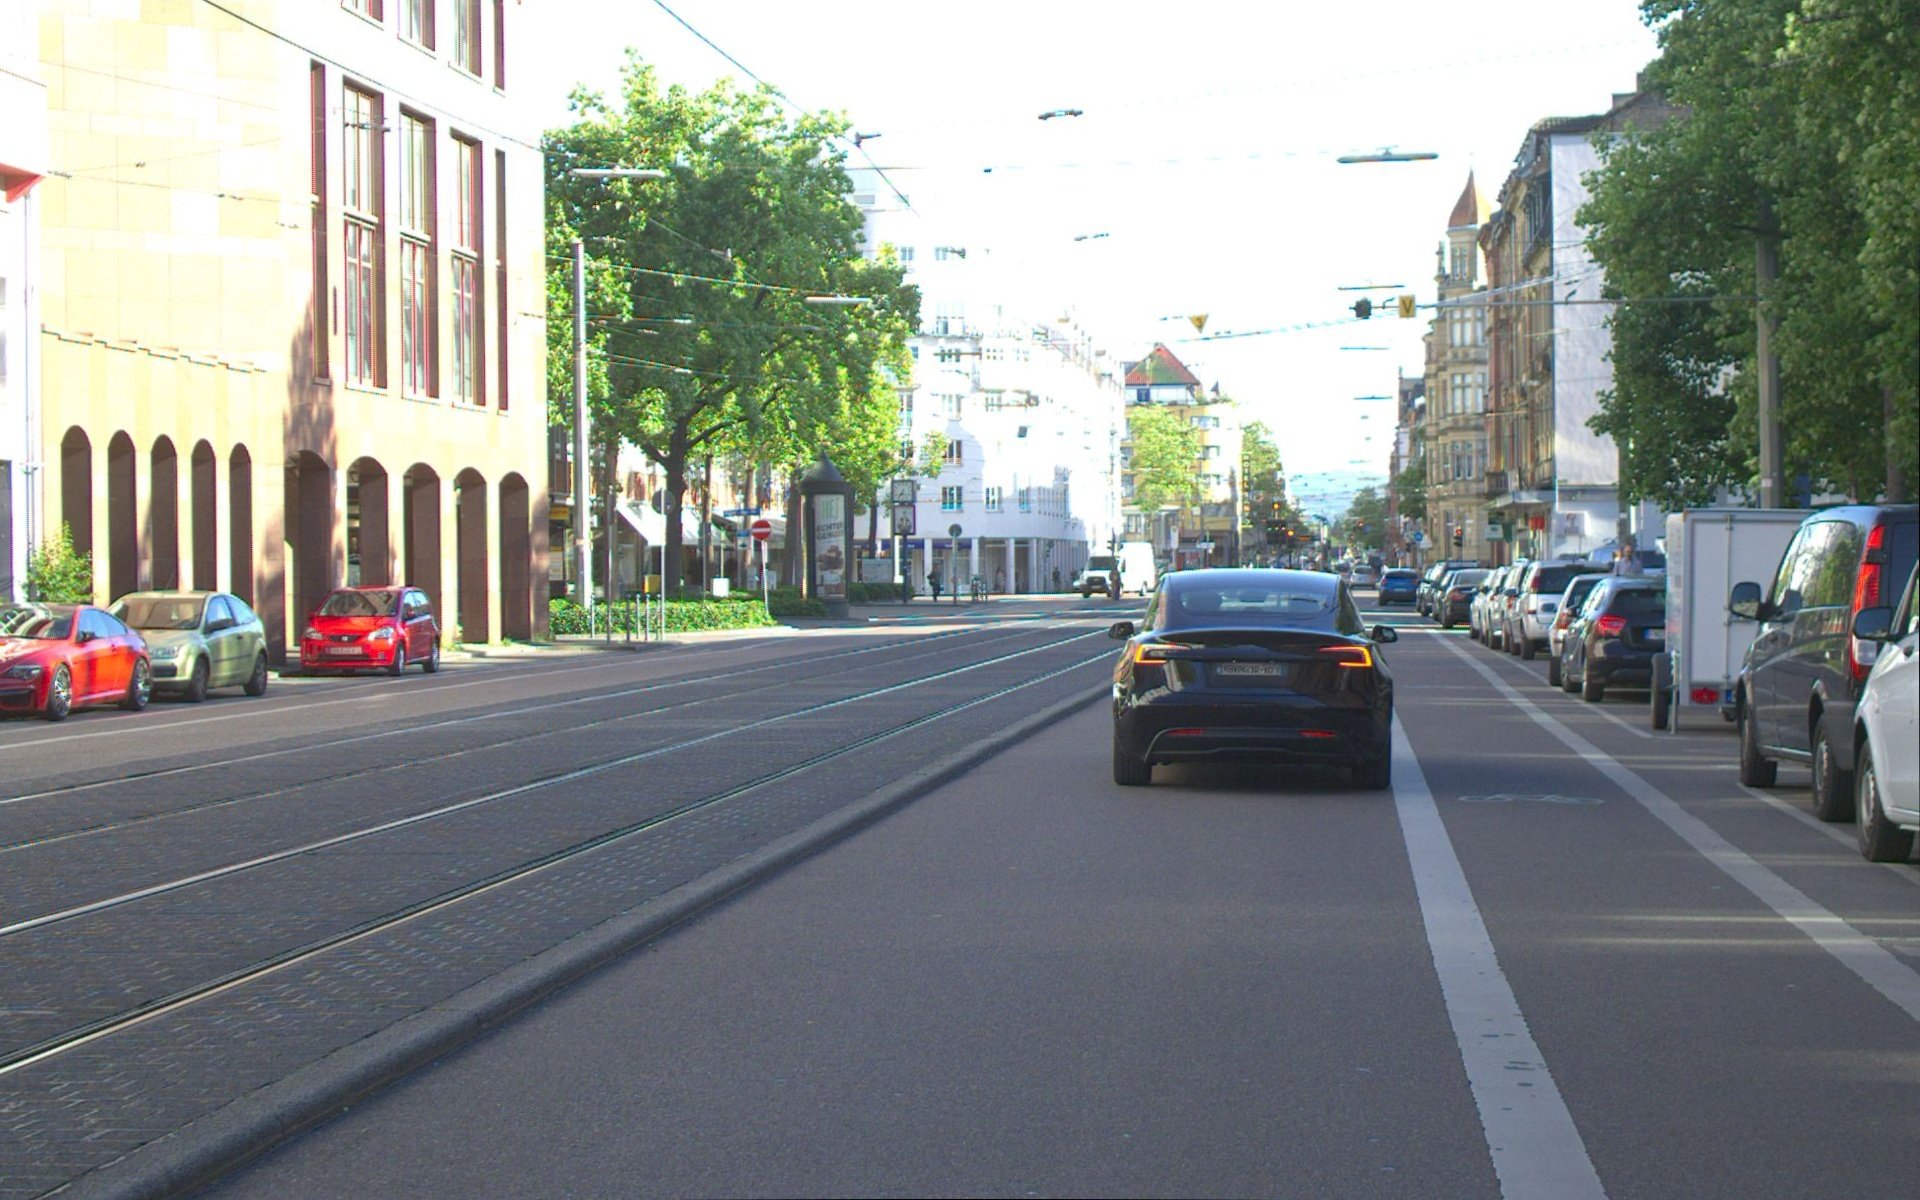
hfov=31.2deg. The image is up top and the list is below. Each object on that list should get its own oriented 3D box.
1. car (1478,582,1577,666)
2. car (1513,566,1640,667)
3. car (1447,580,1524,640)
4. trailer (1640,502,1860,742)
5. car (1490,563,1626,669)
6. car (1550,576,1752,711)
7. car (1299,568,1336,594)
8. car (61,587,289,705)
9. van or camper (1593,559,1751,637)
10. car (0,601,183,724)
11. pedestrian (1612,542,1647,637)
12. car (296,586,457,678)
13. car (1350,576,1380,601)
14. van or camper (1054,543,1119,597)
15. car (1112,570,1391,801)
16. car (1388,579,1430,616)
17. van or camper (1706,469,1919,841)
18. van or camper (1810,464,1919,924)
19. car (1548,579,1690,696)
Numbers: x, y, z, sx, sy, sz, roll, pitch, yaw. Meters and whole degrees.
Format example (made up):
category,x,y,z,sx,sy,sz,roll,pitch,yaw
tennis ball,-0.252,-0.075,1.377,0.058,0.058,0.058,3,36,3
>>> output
category,x,y,z,sx,sy,sz,roll,pitch,yaw
car,11.121,0.435,67.579,1.542,1.565,4.442,1,0,5
car,10.242,0.238,57.326,1.714,1.585,4.064,1,1,5
car,13.137,0.247,86.134,1.711,1.452,4.549,1,0,6
trailer,7.459,0.189,32.752,1.661,2.109,3.841,1,0,8
car,10.763,0.251,62.140,1.925,1.828,4.711,1,1,4
car,8.020,0.477,40.223,1.803,1.430,4.323,2,0,5
car,21.880,-1.162,210.462,1.994,1.520,4.000,0,0,2
car,-10.547,0.588,46.481,1.669,1.463,4.289,1,1,6
van or camper,22.077,-0.056,106.687,4.646,2.129,1.986,-3,-1,11
car,-11.127,0.710,41.547,1.960,1.321,4.820,1,1,5
pedestrian,12.816,-0.198,65.842,0.611,1.802,0.602,-1,0,11
car,-9.570,0.494,56.578,1.659,1.417,3.619,1,1,6
car,26.391,-0.754,224.038,1.846,1.587,3.999,-1,0,7
van or camper,6.447,-1.496,174.003,2.141,2.645,6.877,-1,0,11
car,2.000,0.517,23.378,1.720,1.400,3.709,1,1,5
car,17.788,-0.093,136.205,1.594,1.428,3.685,-1,0,7
van or camper,6.057,0.305,21.576,1.971,2.038,5.330,1,0,5
van or camper,5.258,0.429,15.611,1.931,2.030,5.474,1,0,6
car,8.724,0.455,45.432,1.751,1.438,4.313,1,1,11
